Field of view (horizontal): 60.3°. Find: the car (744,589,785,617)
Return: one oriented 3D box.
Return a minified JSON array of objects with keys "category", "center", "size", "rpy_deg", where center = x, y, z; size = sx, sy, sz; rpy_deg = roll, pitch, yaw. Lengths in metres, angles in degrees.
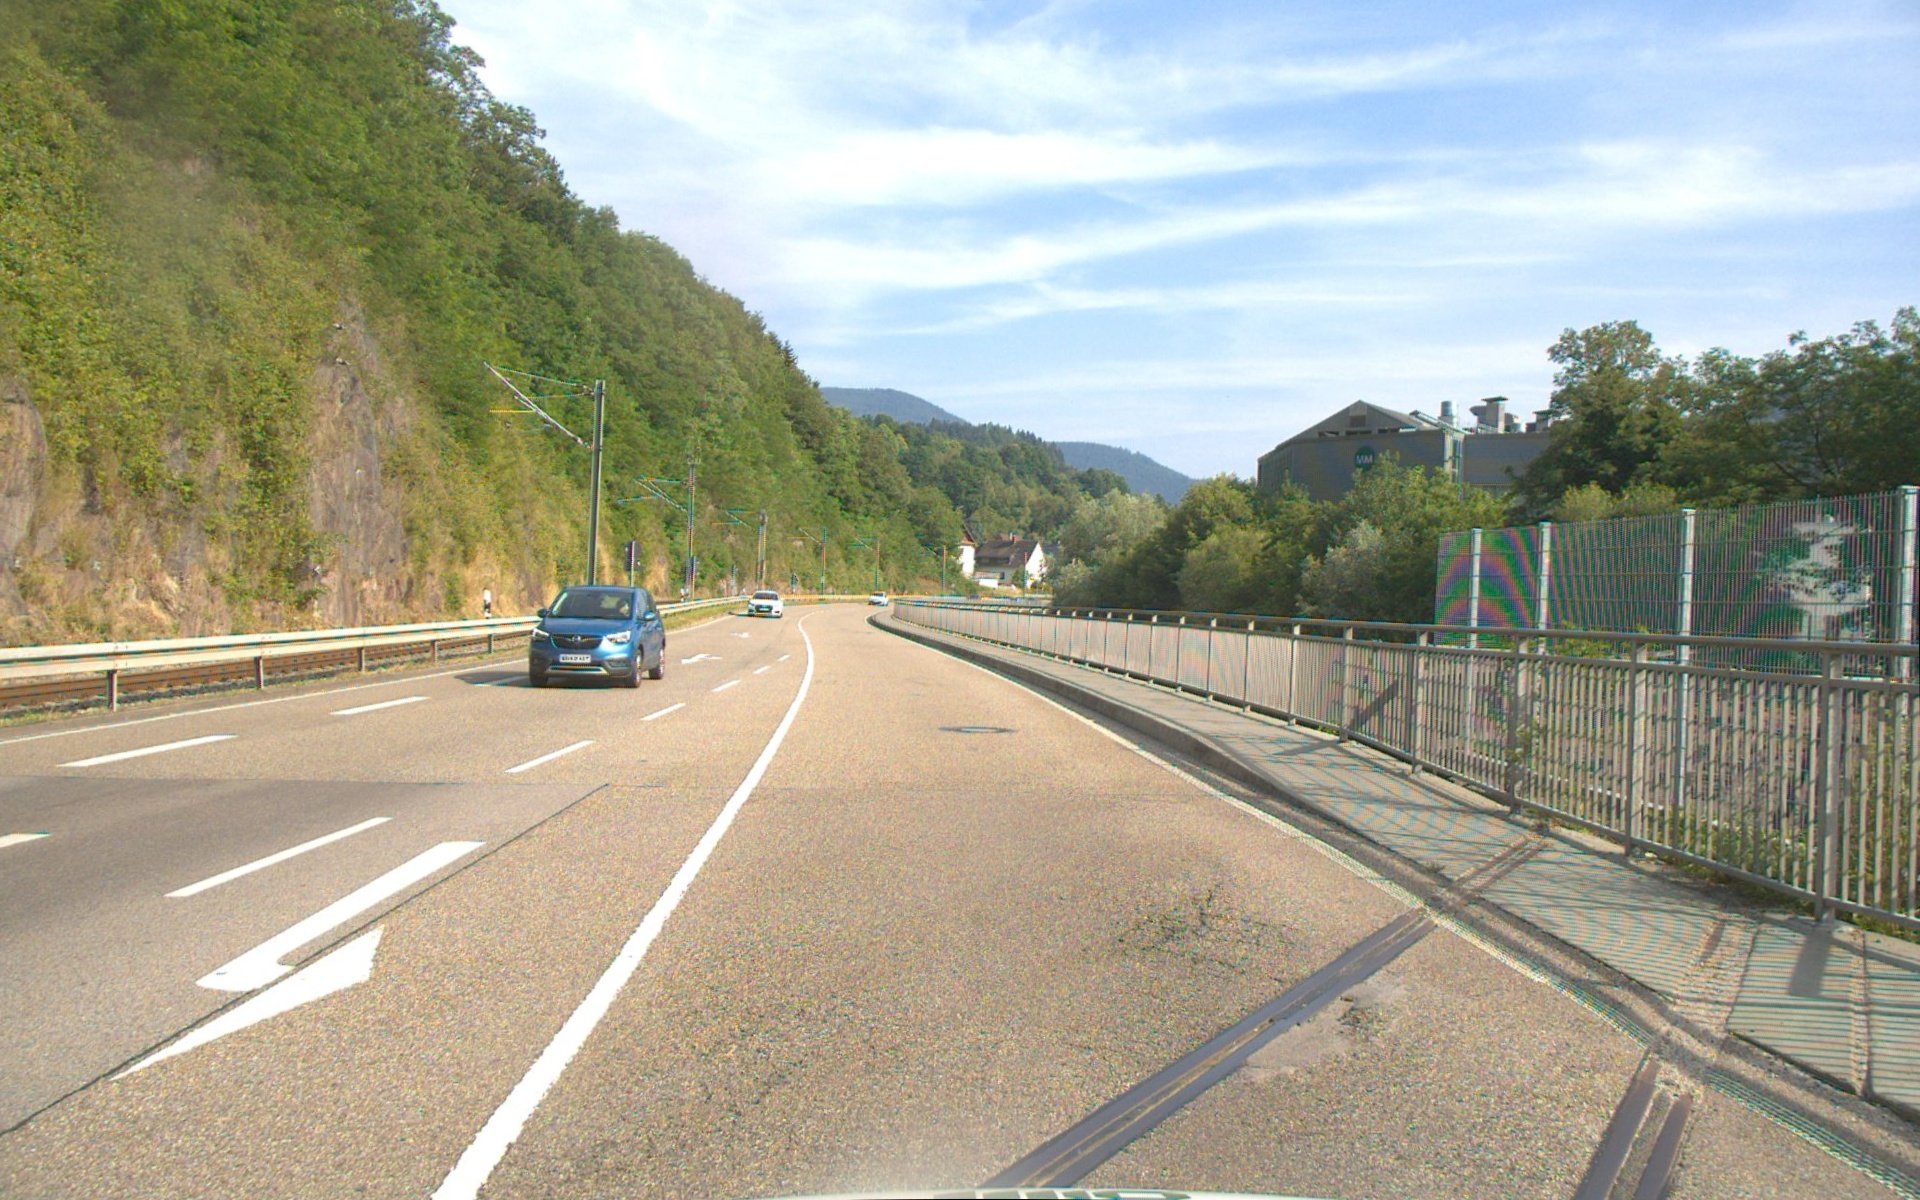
[{"category":"car","center":[-11.078,0.153,93.894],"size":[2.023,1.464,4.682],"rpy_deg":[3,0,-4]}]

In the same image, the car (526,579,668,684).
[{"category":"car","center":[-5.928,0.485,27.446],"size":[1.684,1.598,4.132],"rpy_deg":[1,0,-4]}]

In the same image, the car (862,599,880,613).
[{"category":"car","center":[-10.104,0.706,188.458],"size":[1.810,1.571,4.603],"rpy_deg":[1,0,-1]}]
